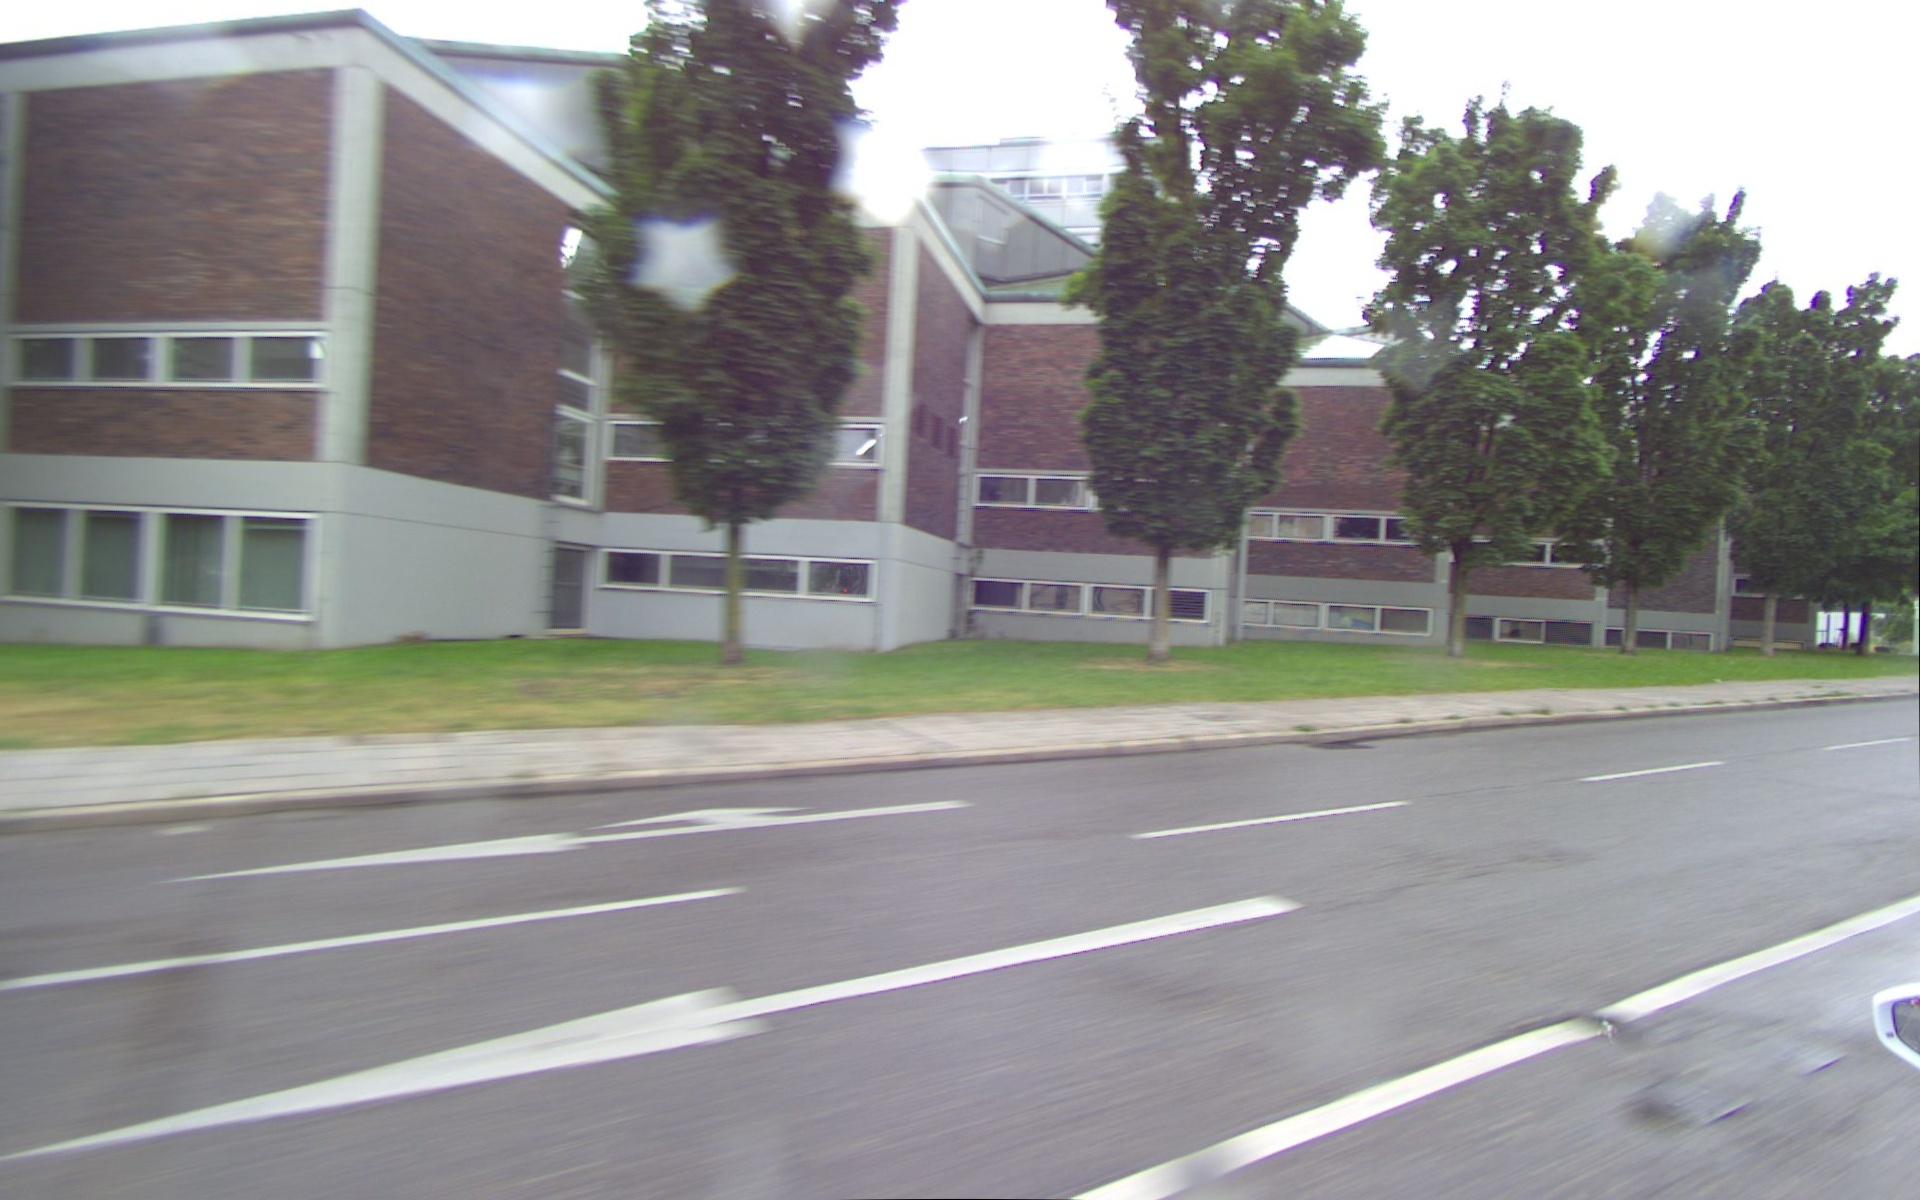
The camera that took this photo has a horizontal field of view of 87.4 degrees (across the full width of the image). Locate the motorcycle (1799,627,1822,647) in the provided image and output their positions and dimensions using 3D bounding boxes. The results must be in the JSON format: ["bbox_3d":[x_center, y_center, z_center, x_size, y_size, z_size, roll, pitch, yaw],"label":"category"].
[{"bbox_3d":[48.747,2.112,57.584,0.404,1.139,1.171,4,-1,7],"label":"motorcycle"}]
